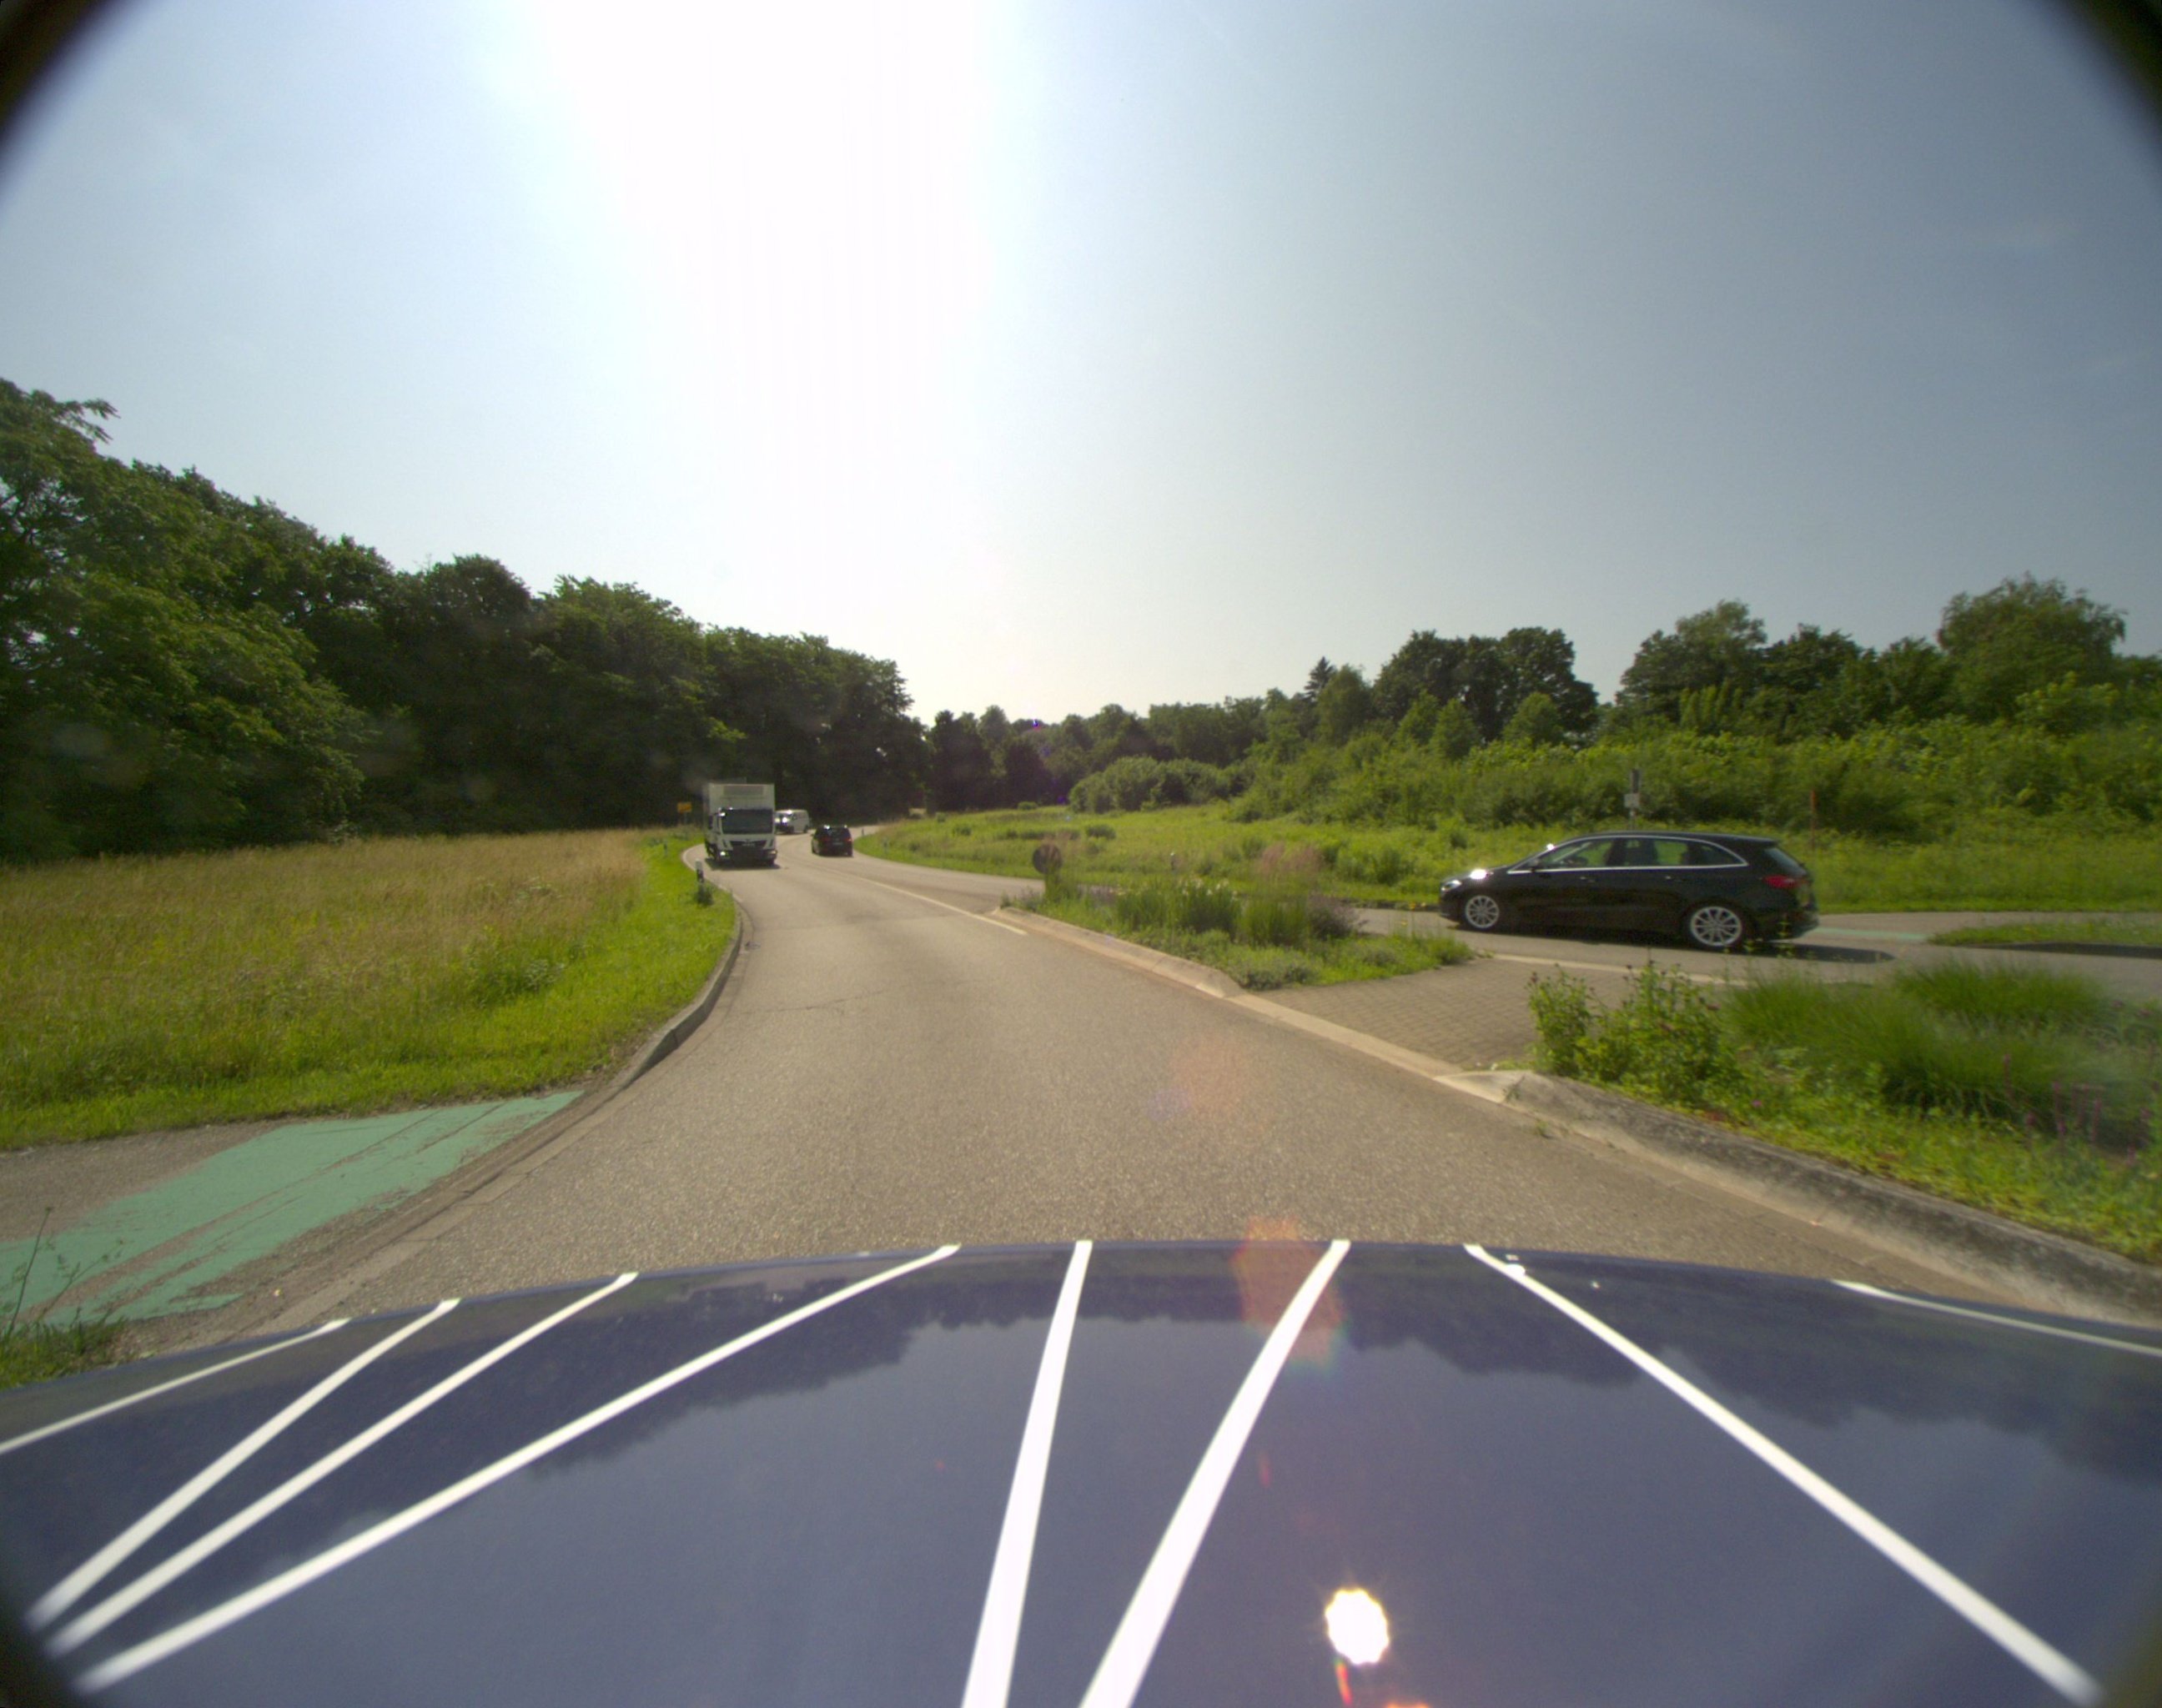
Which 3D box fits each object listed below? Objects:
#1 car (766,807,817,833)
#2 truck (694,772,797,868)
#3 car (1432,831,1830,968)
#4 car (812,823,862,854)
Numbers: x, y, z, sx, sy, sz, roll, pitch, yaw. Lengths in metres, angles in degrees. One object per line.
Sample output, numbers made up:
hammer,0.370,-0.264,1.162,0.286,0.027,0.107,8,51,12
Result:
car,-24.173,-2.850,63.714,1.998,2.003,5.599,-3,3,1
truck,-15.601,-1.515,34.847,2.904,3.809,8.999,-5,4,-31
car,7.405,0.485,10.573,1.761,1.521,4.201,-1,1,-42
car,-13.428,-0.825,41.619,1.915,1.586,4.363,-1,1,-27
